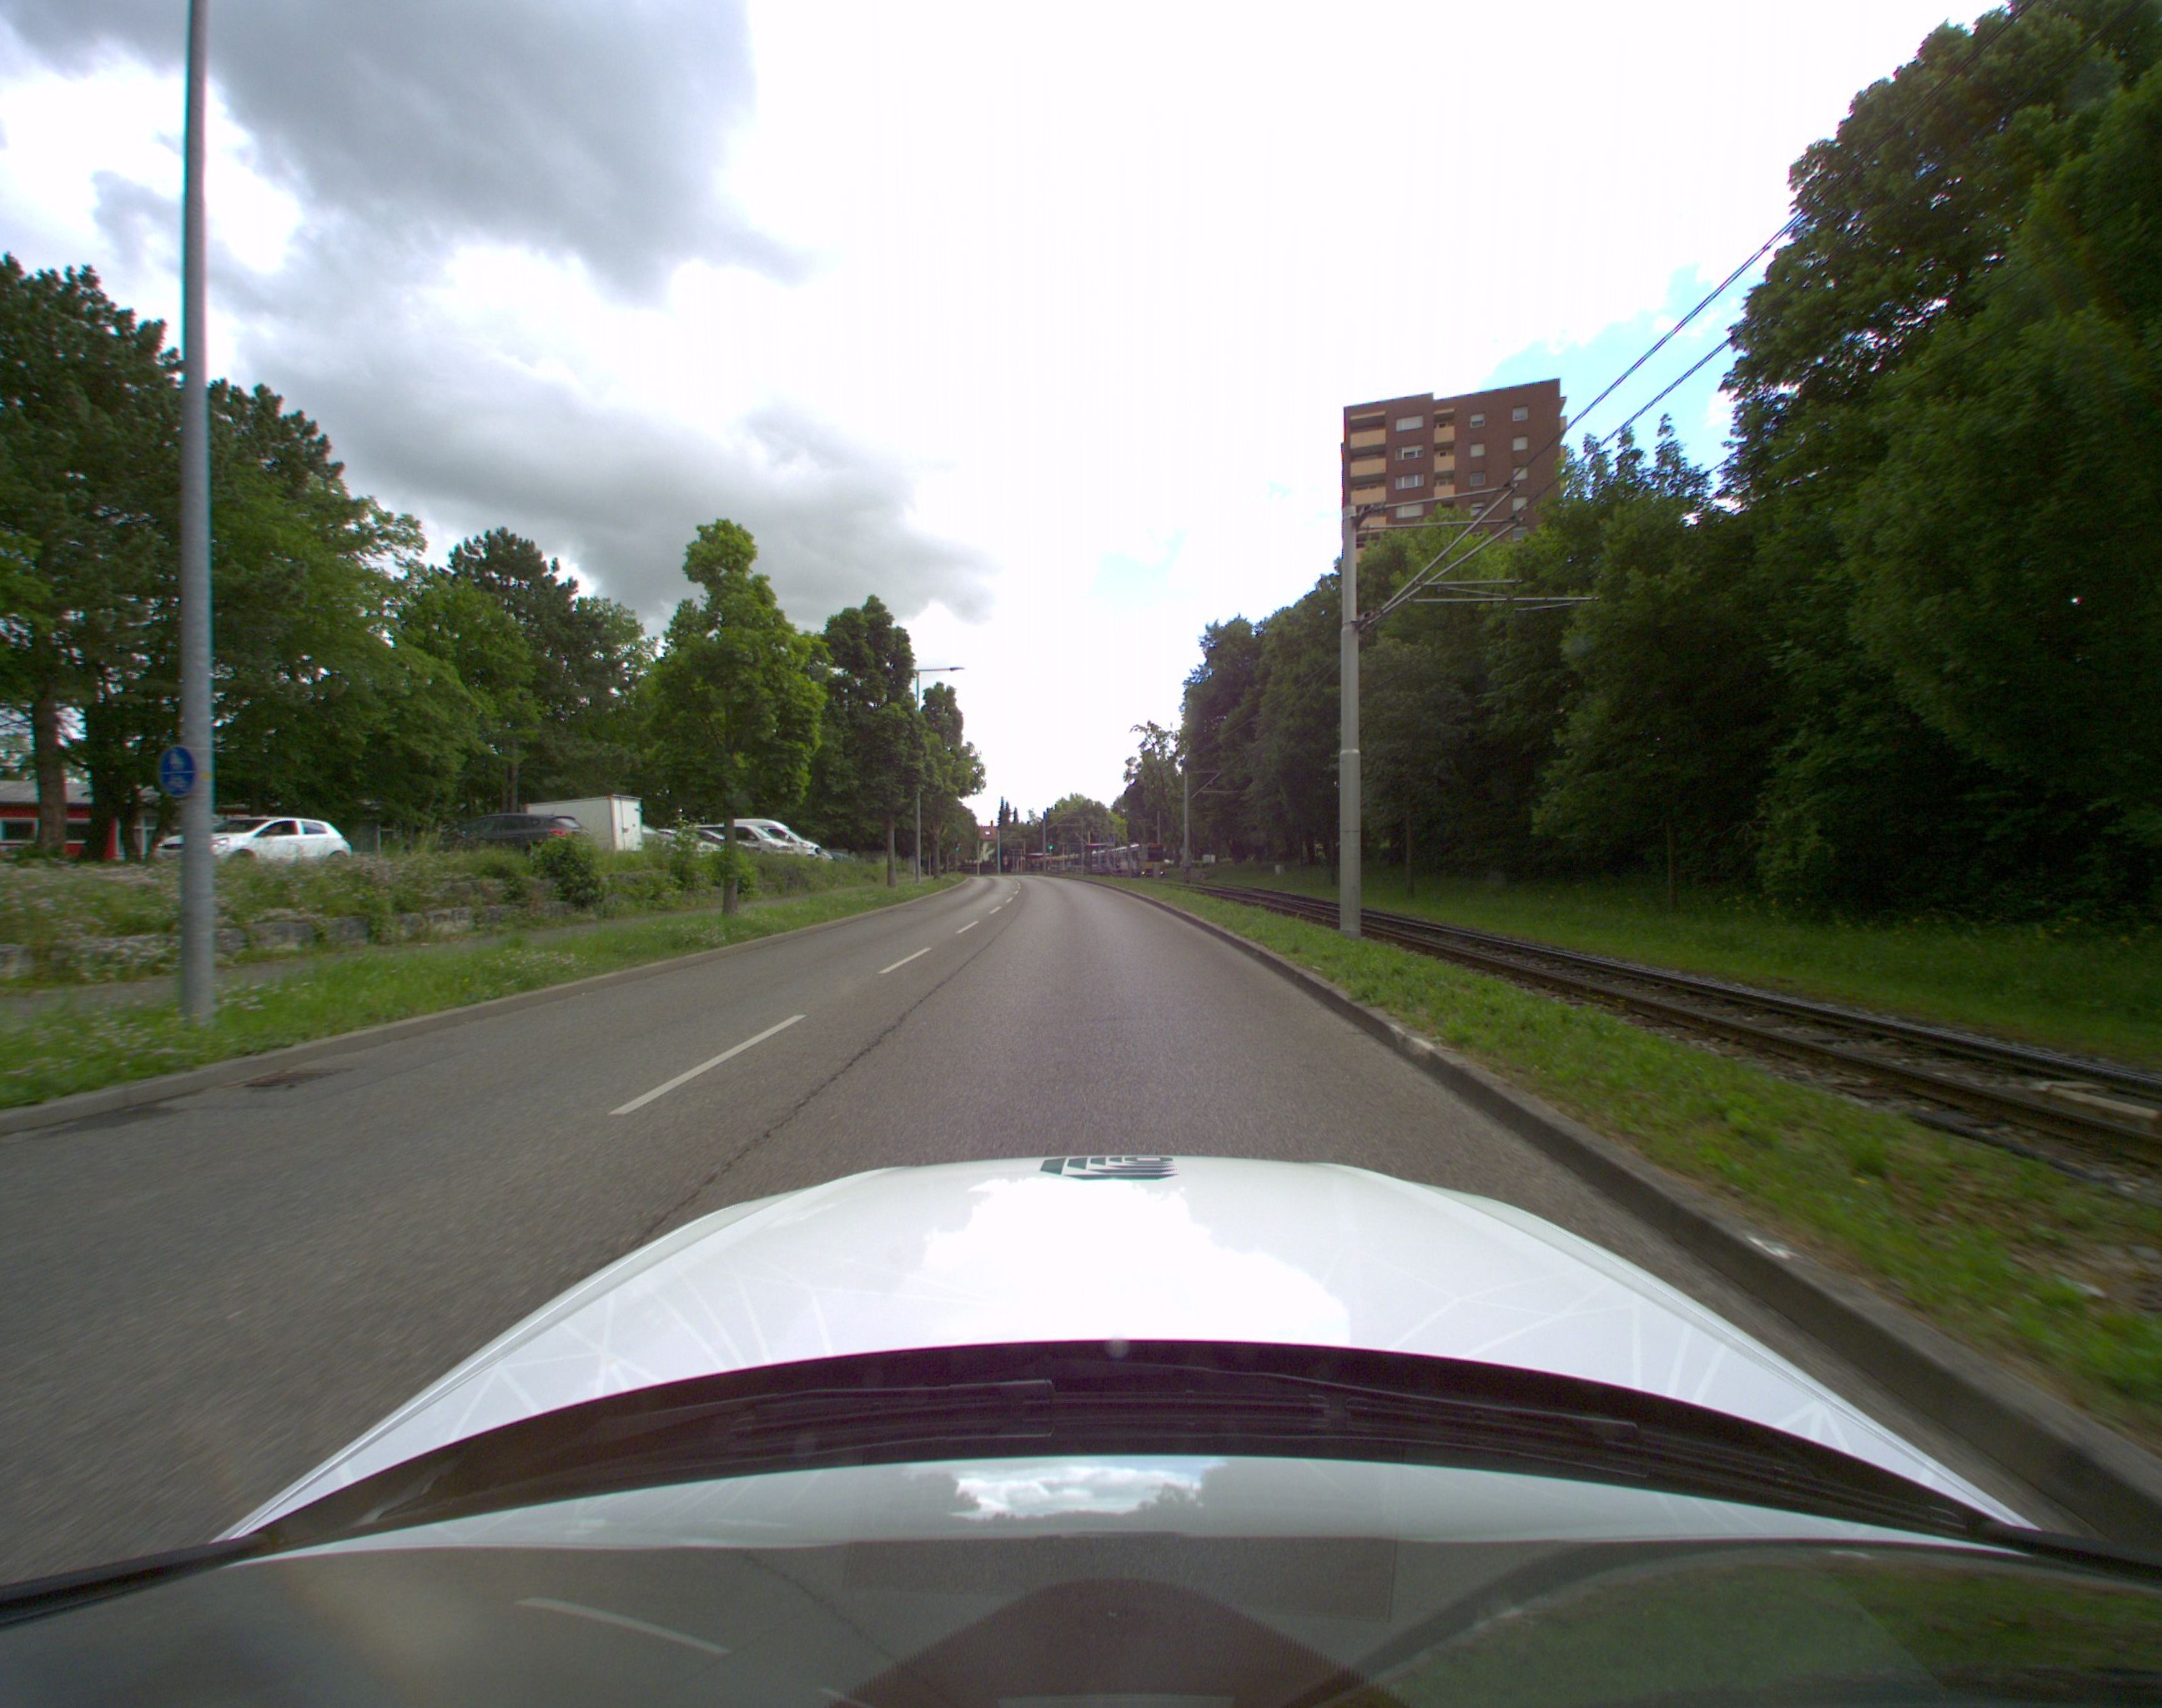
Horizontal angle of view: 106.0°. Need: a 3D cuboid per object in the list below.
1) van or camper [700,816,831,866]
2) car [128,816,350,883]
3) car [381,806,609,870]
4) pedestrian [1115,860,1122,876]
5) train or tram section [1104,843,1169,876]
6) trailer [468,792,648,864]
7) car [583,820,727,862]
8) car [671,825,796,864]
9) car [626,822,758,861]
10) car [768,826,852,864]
[{"bbox_3d":[-14.747,-0.593,38.246,5.319,2.203,1.998,0,0,-2],"label":"van or camper"},{"bbox_3d":[-21.465,-0.107,21.000,1.880,1.585,3.664,0,0,0],"label":"car"},{"bbox_3d":[-14.792,-0.407,20.770,4.305,1.448,1.832,-2,0,-6],"label":"car"},{"bbox_3d":[3.400,1.317,74.748,0.567,1.464,0.594,0,-1,-6],"label":"pedestrian"},{"bbox_3d":[6.032,0.551,98.584,3.002,3.311,34.654,0,0,-4],"label":"train or tram section"},{"bbox_3d":[-15.186,-0.736,23.805,3.973,2.013,1.908,0,0,1],"label":"trailer"},{"bbox_3d":[-15.702,-0.463,30.221,4.248,1.507,1.998,0,0,-3],"label":"car"},{"bbox_3d":[-15.167,-0.407,35.697,4.620,1.656,2.003,0,0,5],"label":"car"},{"bbox_3d":[-15.561,-0.471,32.766,4.300,1.507,1.998,0,0,-3],"label":"car"},{"bbox_3d":[-15.023,-0.488,45.333,3.973,2.014,2.000,0,0,0],"label":"car"}]
